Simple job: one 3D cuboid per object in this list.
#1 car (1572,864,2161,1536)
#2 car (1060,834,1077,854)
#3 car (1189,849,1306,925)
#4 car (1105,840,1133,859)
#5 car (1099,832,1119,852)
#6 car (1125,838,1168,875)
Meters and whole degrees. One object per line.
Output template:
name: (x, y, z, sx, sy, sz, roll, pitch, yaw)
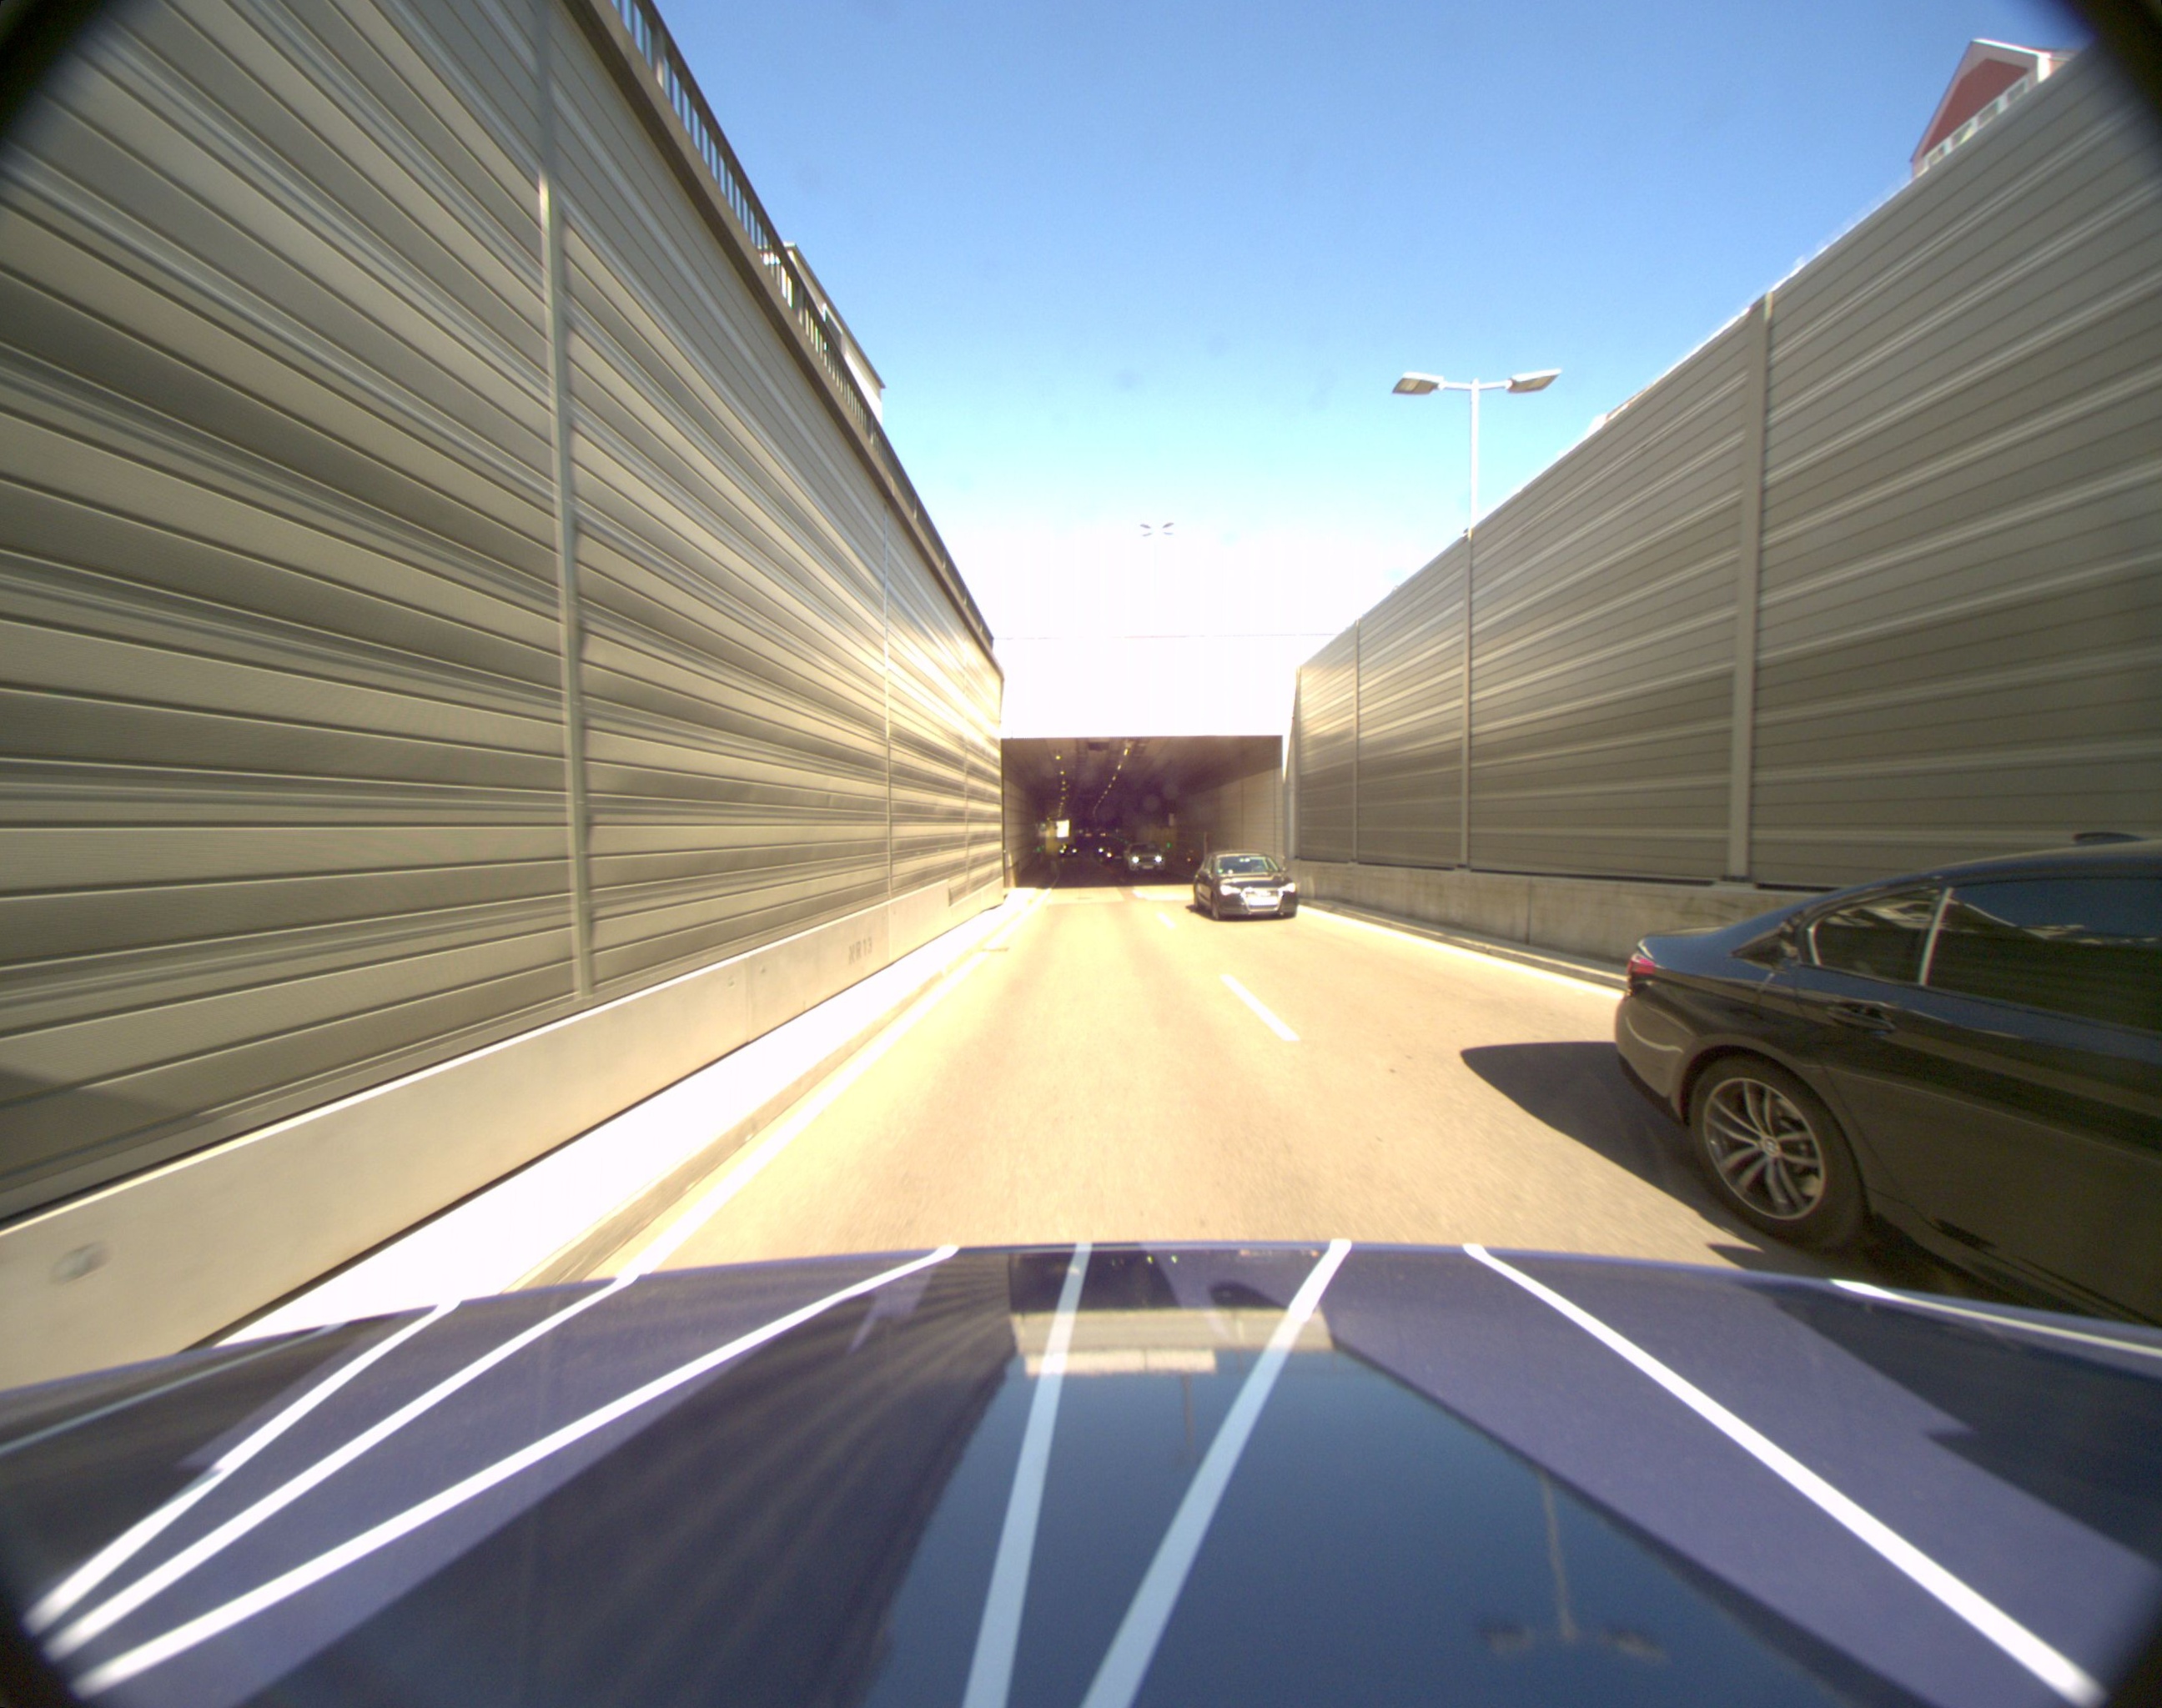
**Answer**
car: (3.334, 0.801, 1.254, 1.813, 1.431, 5.002, -2, 0, 1)
car: (-1.374, -1.125, 84.725, 1.785, 2.002, 3.907, -2, 2, 0)
car: (3.497, 0.645, 16.675, 1.700, 1.410, 3.888, -2, 0, 1)
car: (2.909, -0.363, 59.403, 1.998, 1.407, 4.000, -2, 1, 1)
car: (3.117, -1.377, 84.908, 1.999, 2.002, 3.998, -2, 2, -1)
car: (3.157, 0.094, 37.263, 1.854, 1.658, 3.970, -1, 1, 1)
